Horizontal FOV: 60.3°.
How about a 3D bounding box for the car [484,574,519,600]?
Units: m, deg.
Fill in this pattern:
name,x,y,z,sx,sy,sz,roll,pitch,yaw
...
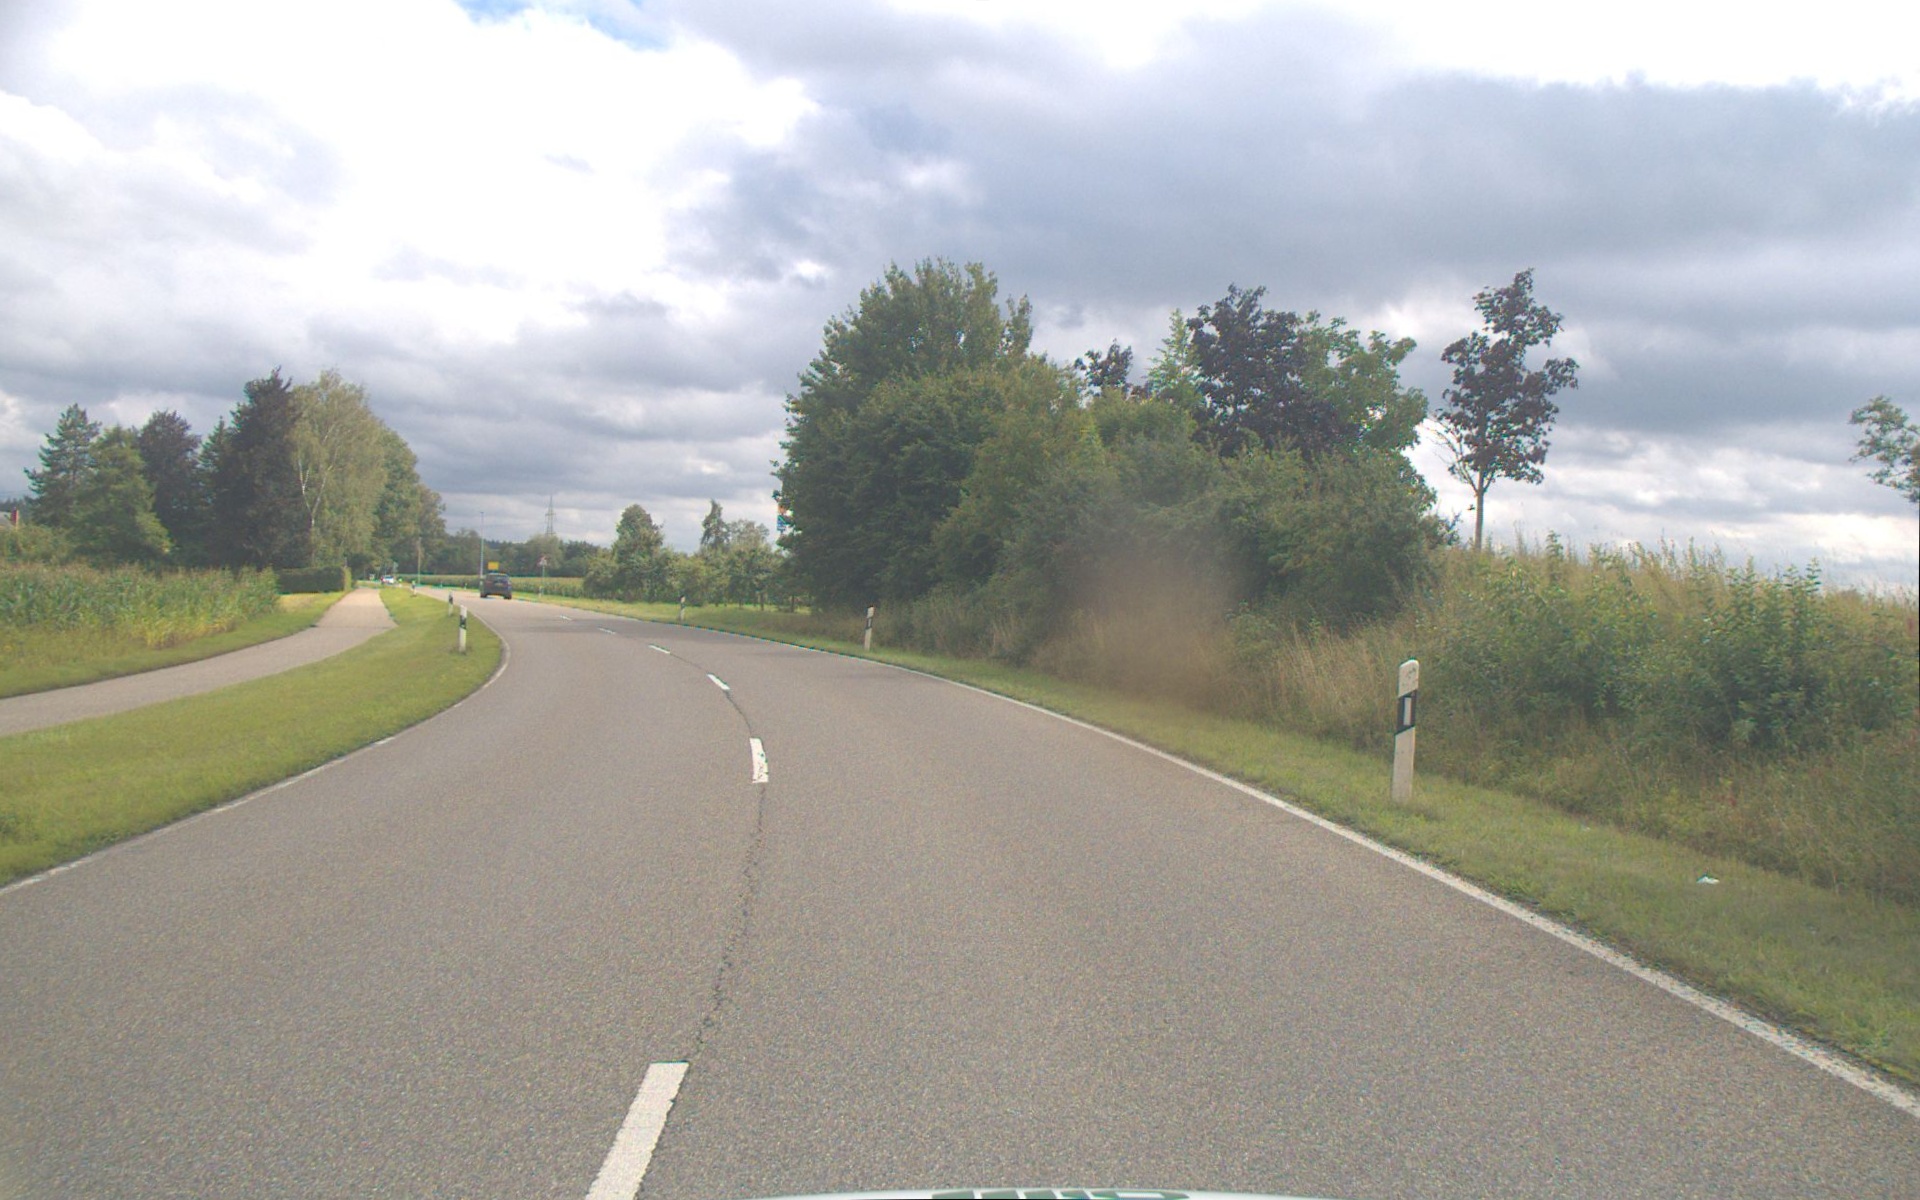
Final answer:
name,x,y,z,sx,sy,sz,roll,pitch,yaw
car,-31.072,-0.904,112.038,1.879,1.695,3.974,1,0,-21
